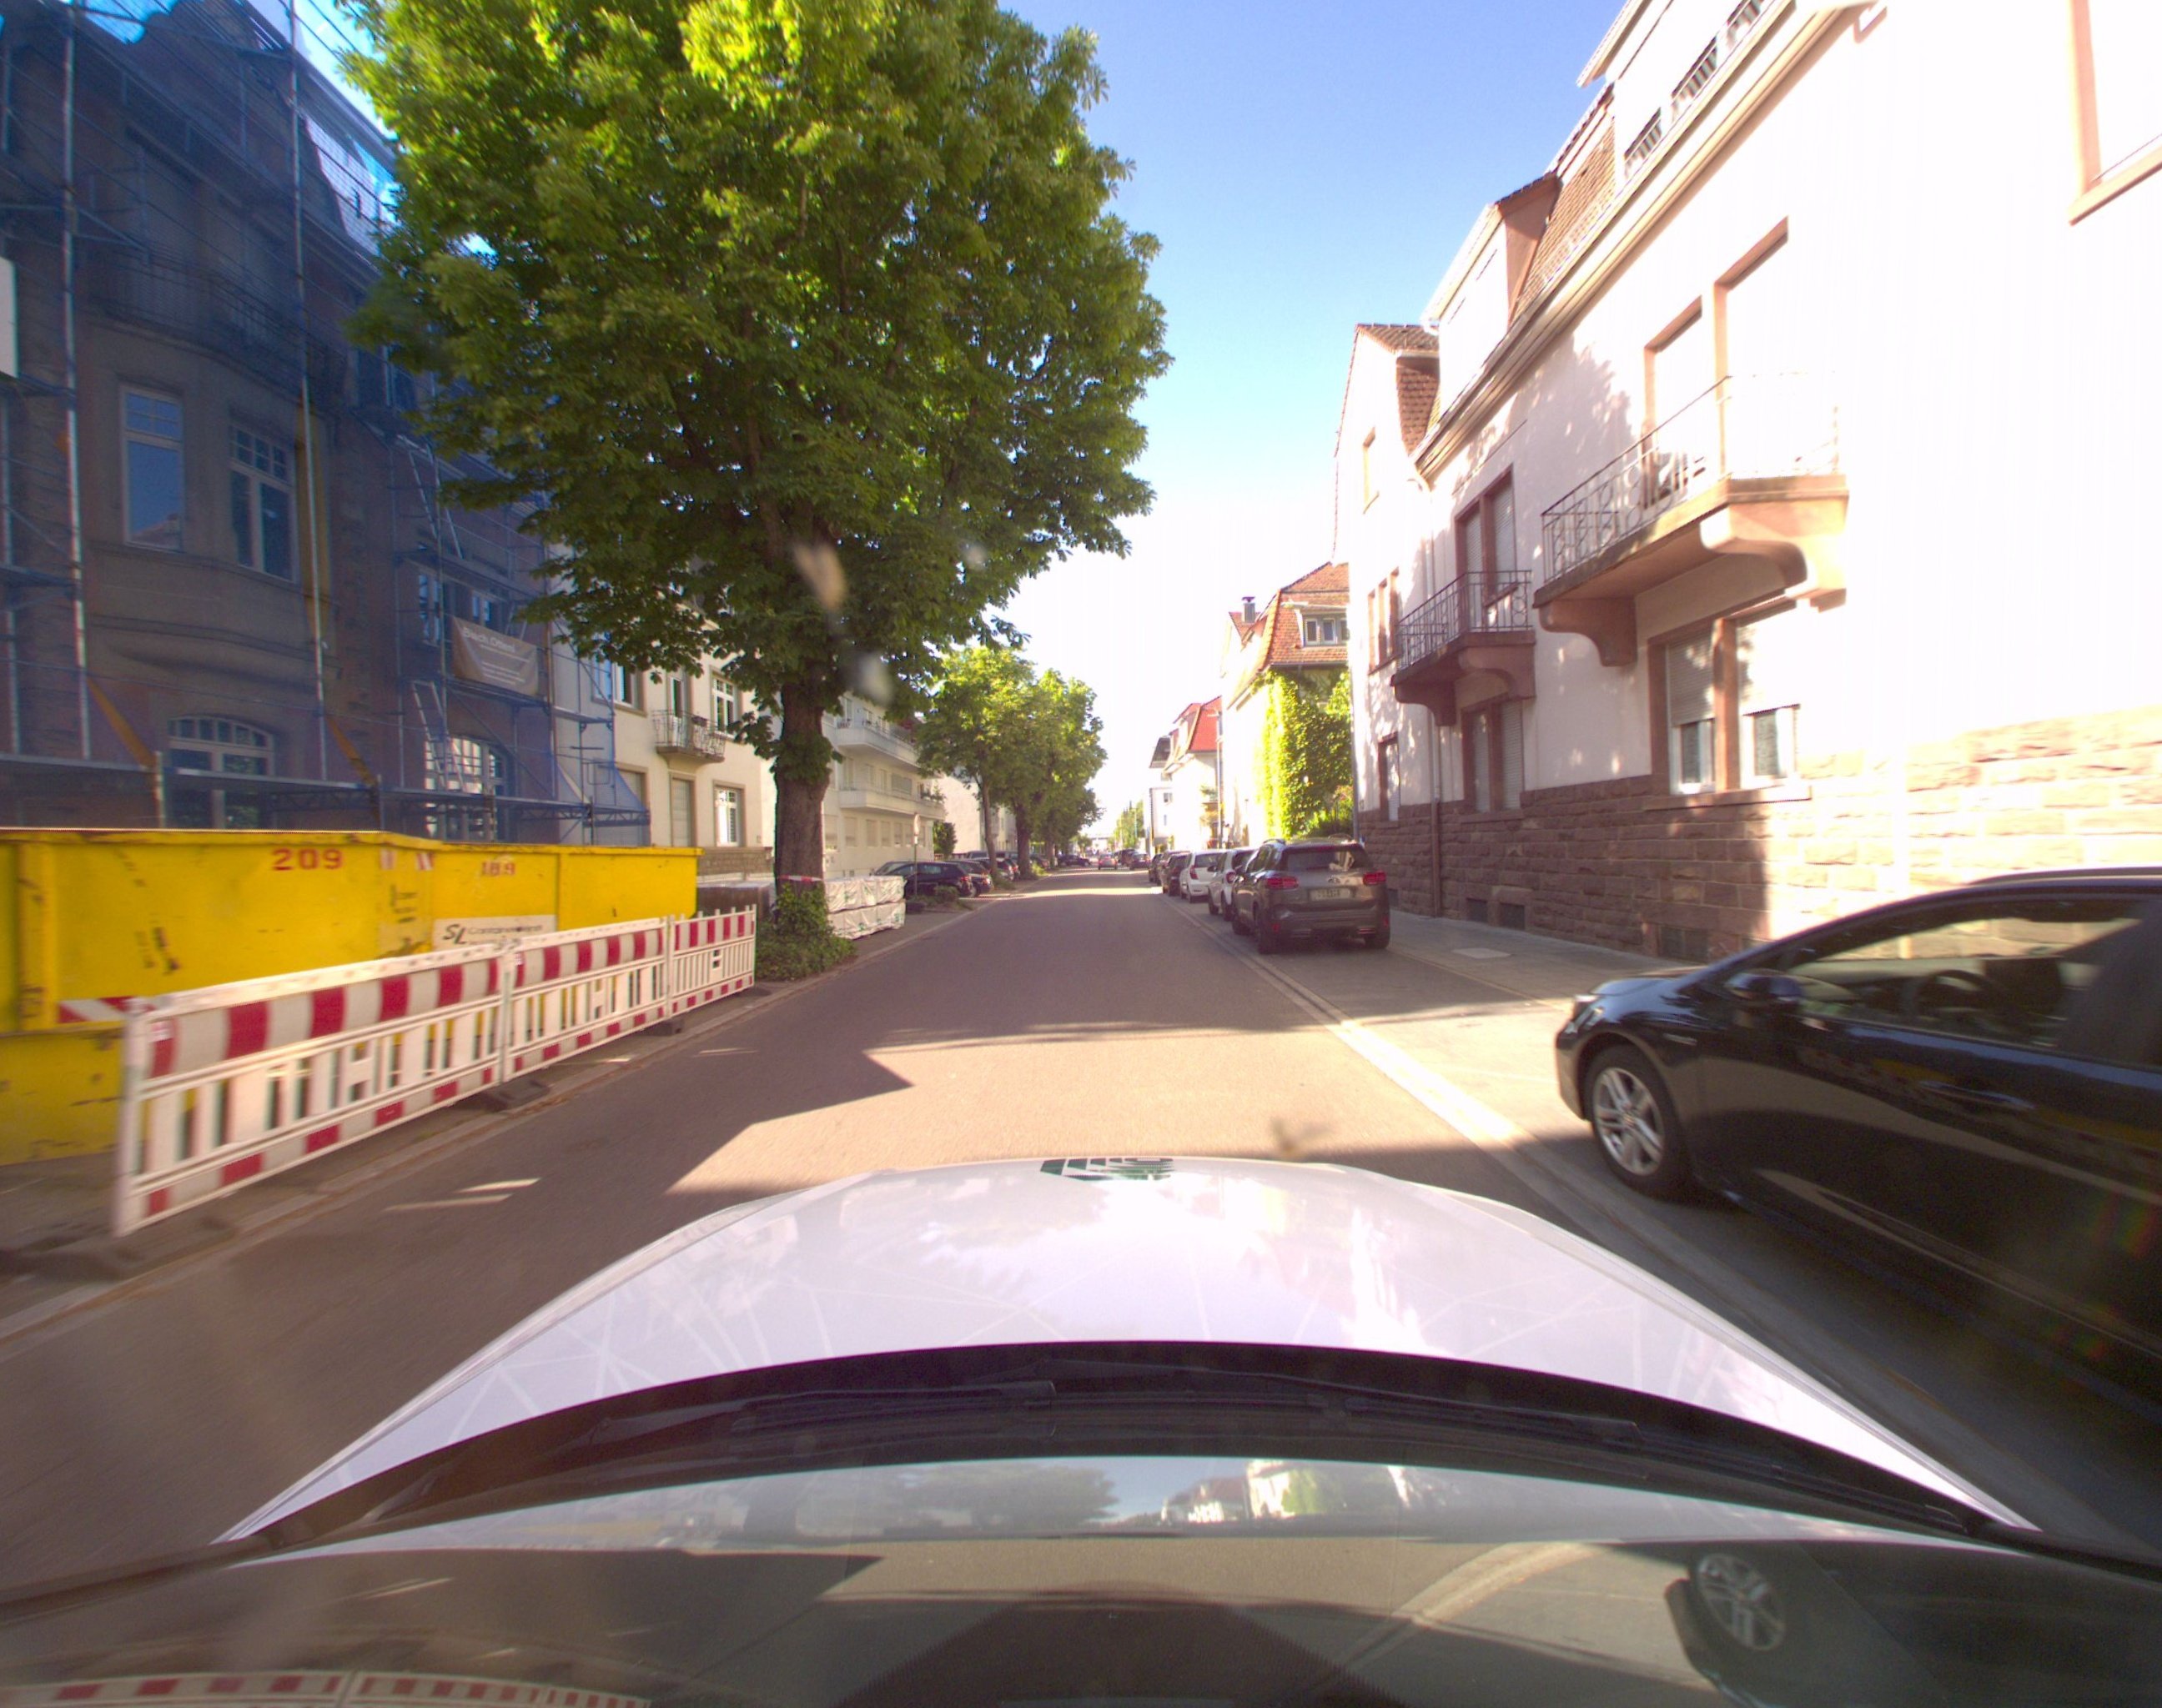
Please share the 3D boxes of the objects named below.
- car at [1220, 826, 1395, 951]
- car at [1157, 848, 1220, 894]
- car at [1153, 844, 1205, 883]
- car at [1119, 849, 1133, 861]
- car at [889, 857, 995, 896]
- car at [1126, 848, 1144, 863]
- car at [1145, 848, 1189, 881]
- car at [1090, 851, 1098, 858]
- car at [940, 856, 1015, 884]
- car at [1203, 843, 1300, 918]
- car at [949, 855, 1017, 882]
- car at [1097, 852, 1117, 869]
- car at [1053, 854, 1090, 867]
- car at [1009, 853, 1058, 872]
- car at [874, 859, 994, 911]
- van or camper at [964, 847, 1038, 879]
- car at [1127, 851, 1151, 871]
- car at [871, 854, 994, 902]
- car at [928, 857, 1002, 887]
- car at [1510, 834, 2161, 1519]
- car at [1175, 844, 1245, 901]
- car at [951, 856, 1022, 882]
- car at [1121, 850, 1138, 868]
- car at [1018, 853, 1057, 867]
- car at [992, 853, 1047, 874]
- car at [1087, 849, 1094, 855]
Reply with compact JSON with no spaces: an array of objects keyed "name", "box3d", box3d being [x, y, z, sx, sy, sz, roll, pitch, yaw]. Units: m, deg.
[{"name":"car","box3d":[3.433,0.499,13.203,1.771,1.696,4.322,0,-1,2]},{"name":"car","box3d":[3.800,0.590,29.448,1.703,1.436,4.193,-4,-1,1]},{"name":"car","box3d":[4.283,0.437,36.230,1.785,1.520,4.367,-3,-1,1]},{"name":"car","box3d":[6.198,0.073,112.720,1.730,1.531,4.180,-3,0,2]},{"name":"car","box3d":[-5.932,0.960,35.069,4.174,1.441,1.713,-2,0,0]},{"name":"car","box3d":[5.583,0.137,84.262,1.586,1.480,3.248,-4,0,1]},{"name":"car","box3d":[4.333,0.522,41.609,1.658,1.520,3.998,-3,-1,-2]},{"name":"car","box3d":[3.506,0.130,217.447,1.868,1.728,3.996,-2,0,-3]},{"name":"car","box3d":[-5.348,0.824,42.388,3.628,1.463,1.712,0,0,3]},{"name":"car","box3d":[3.769,0.574,18.440,1.619,1.549,2.870,-1,-1,1]},{"name":"car","box3d":[-5.367,0.792,44.905,3.465,1.458,1.798,0,0,2]},{"name":"car","box3d":[2.423,0.605,75.233,1.720,1.420,3.963,-3,0,2]},{"name":"car","box3d":[-1.130,0.737,94.668,4.171,1.448,1.714,0,-1,3]},{"name":"car","box3d":[-4.042,0.758,69.842,3.973,1.468,1.697,-2,0,0]},{"name":"car","box3d":[-5.020,1.037,28.187,3.868,1.514,1.828,-3,0,-8]},{"name":"van or camper","box3d":[-5.155,0.568,52.652,4.481,1.914,1.964,-2,0,1]},{"name":"car","box3d":[4.747,0.566,67.387,1.614,1.439,3.934,-4,0,0]},{"name":"car","box3d":[-5.815,0.917,32.248,4.586,1.607,1.828,-3,0,-8]},{"name":"car","box3d":[-5.642,0.852,39.921,3.471,1.420,1.708,0,-1,-4]},{"name":"car","box3d":[3.128,0.677,2.189,1.638,1.454,4.504,-1,0,1]},{"name":"car","box3d":[3.887,0.554,25.003,1.570,1.549,3.469,-3,-1,1]},{"name":"car","box3d":[-5.428,0.854,47.226,3.910,1.414,1.715,0,1,-1]},{"name":"car","box3d":[5.743,0.601,96.631,1.864,1.905,5.201,-3,-1,3]},{"name":"car","box3d":[-4.512,0.613,85.065,4.009,1.484,1.807,0,0,0]},{"name":"car","box3d":[-4.828,0.755,64.534,4.173,1.498,1.861,-2,0,0]},{"name":"car","box3d":[2.665,-0.487,228.993,1.782,1.532,3.997,3,1,-2]}]
